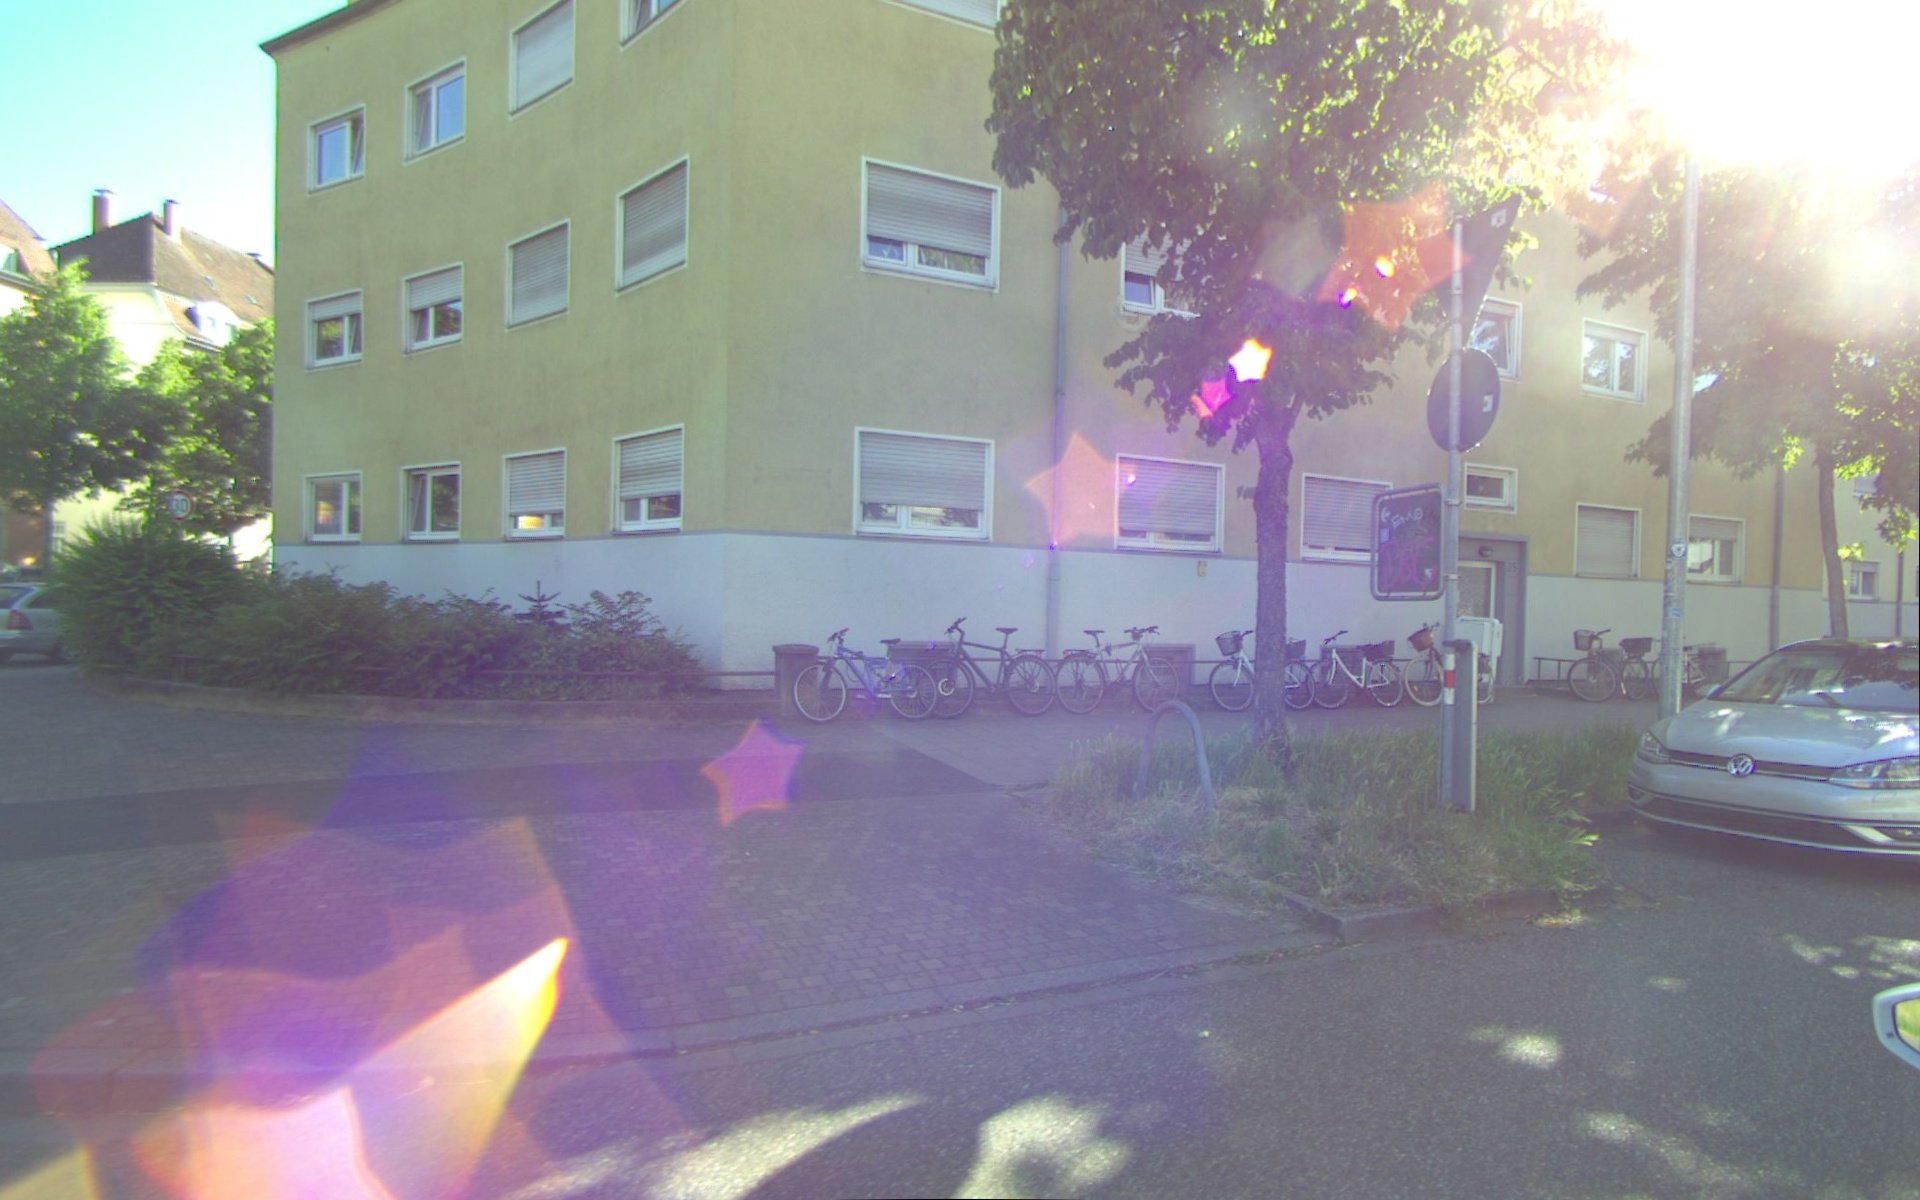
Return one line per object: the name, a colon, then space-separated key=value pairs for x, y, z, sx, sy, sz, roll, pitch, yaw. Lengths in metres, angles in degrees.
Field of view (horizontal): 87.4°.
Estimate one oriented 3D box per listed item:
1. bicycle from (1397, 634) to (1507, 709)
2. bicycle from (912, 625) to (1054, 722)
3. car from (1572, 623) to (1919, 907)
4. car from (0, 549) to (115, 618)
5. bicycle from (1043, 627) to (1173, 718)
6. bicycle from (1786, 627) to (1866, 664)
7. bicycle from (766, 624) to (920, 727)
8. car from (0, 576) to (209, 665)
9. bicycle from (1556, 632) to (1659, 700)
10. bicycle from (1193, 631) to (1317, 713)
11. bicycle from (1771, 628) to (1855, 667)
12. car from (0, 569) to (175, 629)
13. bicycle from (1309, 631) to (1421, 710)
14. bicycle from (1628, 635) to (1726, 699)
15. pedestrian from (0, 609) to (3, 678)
bicycle: x=7.080 y=1.015 z=14.446 sx=1.522 sy=1.014 sz=0.514 roll=1 pitch=0 yaw=-22
bicycle: x=0.266 y=0.807 z=11.211 sx=1.523 sy=1.014 sz=0.473 roll=1 pitch=0 yaw=-25
car: x=6.361 y=0.940 z=7.077 sx=3.945 sy=1.461 sz=1.752 roll=1 pitch=0 yaw=-28
car: x=-27.363 y=-0.489 z=29.199 sx=3.921 sy=1.906 sz=2.000 roll=1 pitch=0 yaw=1
bicycle: x=1.763 y=0.842 z=11.931 sx=1.524 sy=1.014 sz=0.452 roll=1 pitch=0 yaw=-25
bicycle: x=23.981 y=1.241 z=27.838 sx=0.476 sy=0.943 sz=1.623 roll=1 pitch=0 yaw=-32
bicycle: x=-1.218 y=0.776 z=10.562 sx=1.523 sy=1.014 sz=0.474 roll=1 pitch=0 yaw=-25
car: x=-16.390 y=0.315 z=18.546 sx=1.859 sy=1.463 sz=4.002 roll=1 pitch=0 yaw=4
bicycle: x=10.557 y=1.065 z=16.364 sx=1.723 sy=1.040 sz=0.539 roll=1 pitch=0 yaw=-24
bicycle: x=3.851 y=0.923 z=13.094 sx=1.658 sy=1.014 sz=0.433 roll=1 pitch=0 yaw=-25
bicycle: x=22.407 y=1.233 z=26.407 sx=0.475 sy=0.943 sz=1.626 roll=1 pitch=0 yaw=-27
car: x=-23.206 y=-0.040 z=26.375 sx=4.171 sy=1.443 sz=1.710 roll=1 pitch=0 yaw=10
bicycle: x=5.571 y=0.951 z=13.796 sx=1.524 sy=1.014 sz=0.510 roll=1 pitch=0 yaw=-25
bicycle: x=12.275 y=1.135 z=17.190 sx=1.723 sy=1.040 sz=0.534 roll=1 pitch=0 yaw=-24
pedestrian: x=-12.494 y=0.562 z=12.671 sx=0.448 sy=0.887 sz=0.430 roll=1 pitch=0 yaw=-17
